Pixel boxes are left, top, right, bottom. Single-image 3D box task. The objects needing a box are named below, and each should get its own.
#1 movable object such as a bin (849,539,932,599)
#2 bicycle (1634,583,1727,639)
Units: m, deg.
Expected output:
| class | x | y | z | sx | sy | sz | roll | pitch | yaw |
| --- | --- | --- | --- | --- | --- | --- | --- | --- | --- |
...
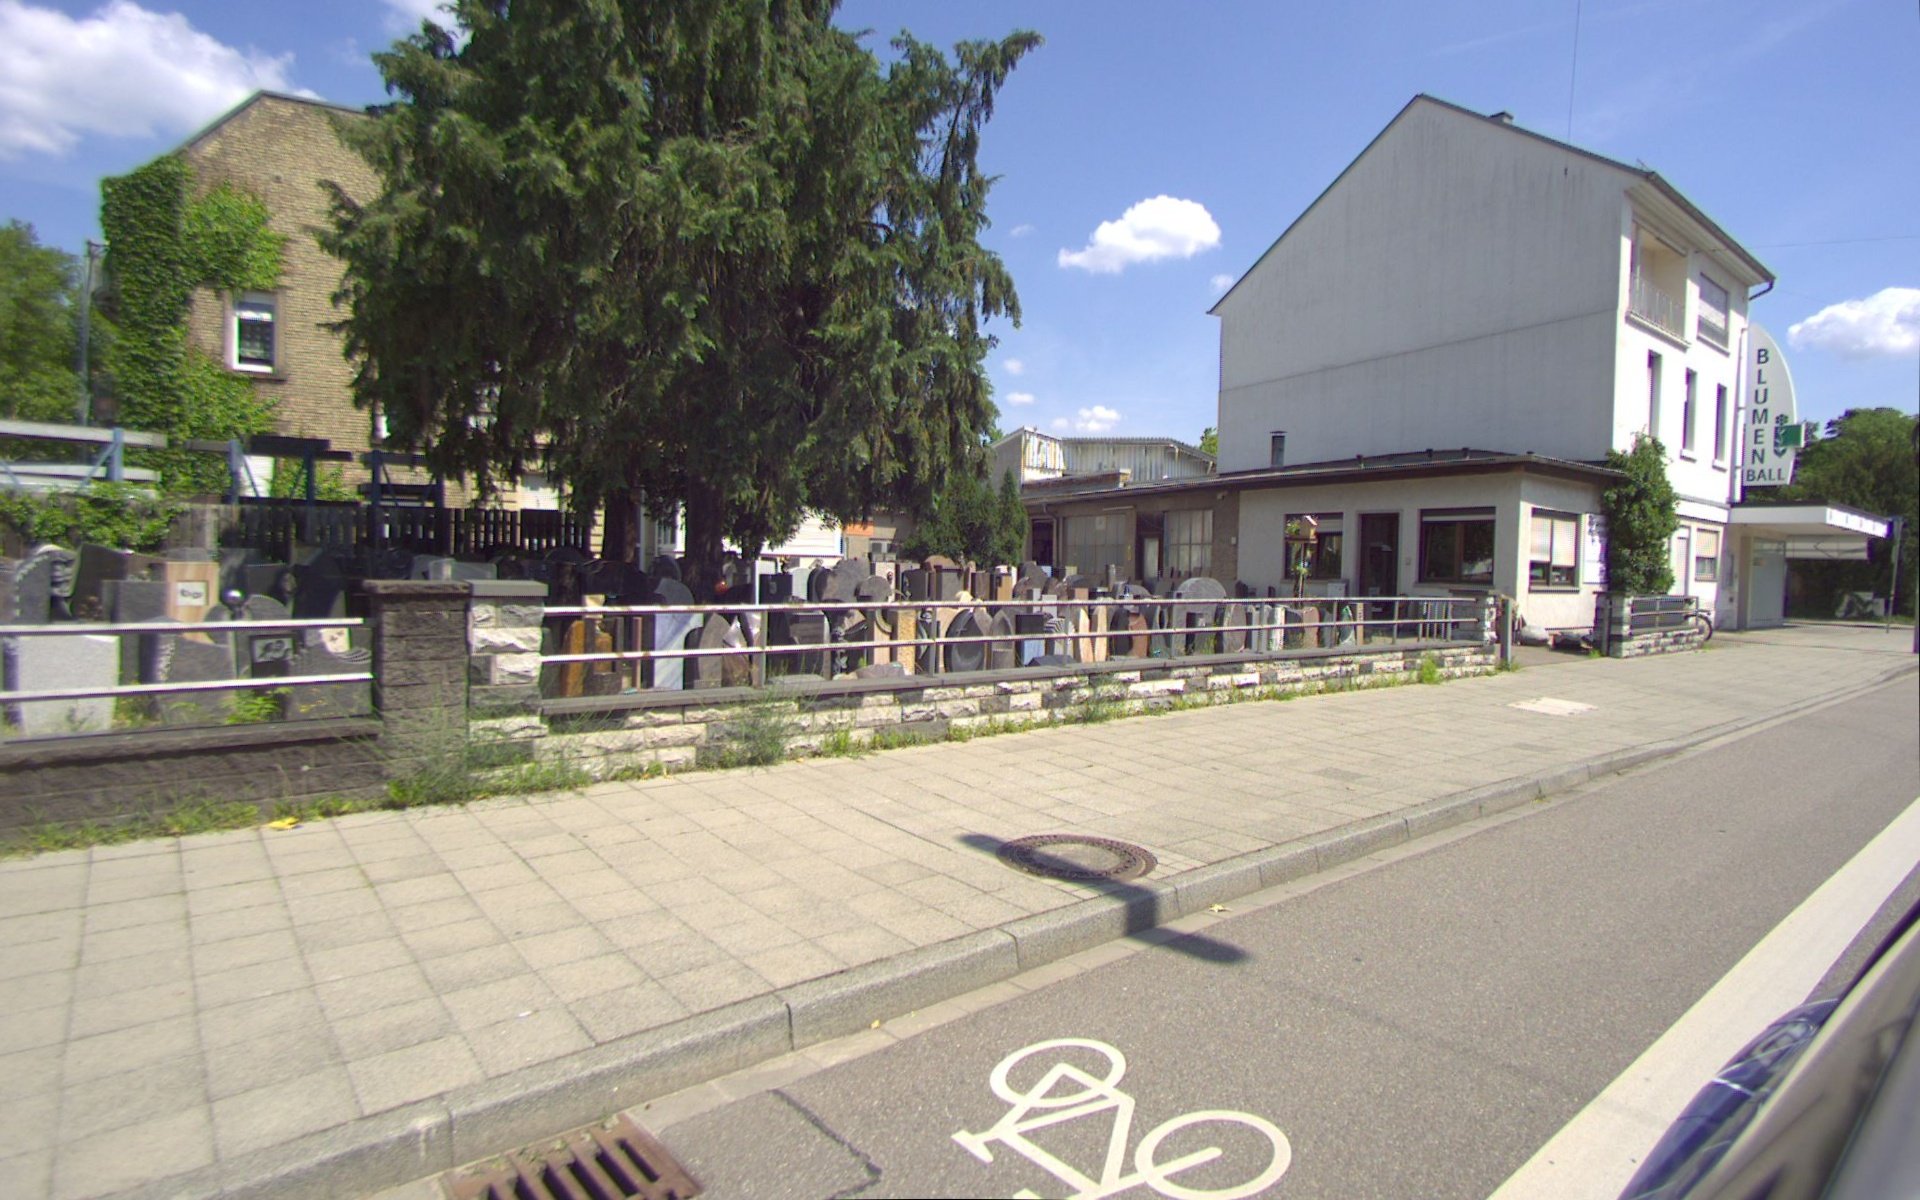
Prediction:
| class | x | y | z | sx | sy | sz | roll | pitch | yaw |
| --- | --- | --- | --- | --- | --- | --- | --- | --- | --- |
| movable object such as a bin | -2.772 | -1.251 | 40.390 | 2.703 | 2.295 | 2.004 | 1 | 2 | -27 |
| bicycle | 15.647 | 0.225 | 22.022 | 0.421 | 1.099 | 1.539 | 0 | 4 | -33 |
